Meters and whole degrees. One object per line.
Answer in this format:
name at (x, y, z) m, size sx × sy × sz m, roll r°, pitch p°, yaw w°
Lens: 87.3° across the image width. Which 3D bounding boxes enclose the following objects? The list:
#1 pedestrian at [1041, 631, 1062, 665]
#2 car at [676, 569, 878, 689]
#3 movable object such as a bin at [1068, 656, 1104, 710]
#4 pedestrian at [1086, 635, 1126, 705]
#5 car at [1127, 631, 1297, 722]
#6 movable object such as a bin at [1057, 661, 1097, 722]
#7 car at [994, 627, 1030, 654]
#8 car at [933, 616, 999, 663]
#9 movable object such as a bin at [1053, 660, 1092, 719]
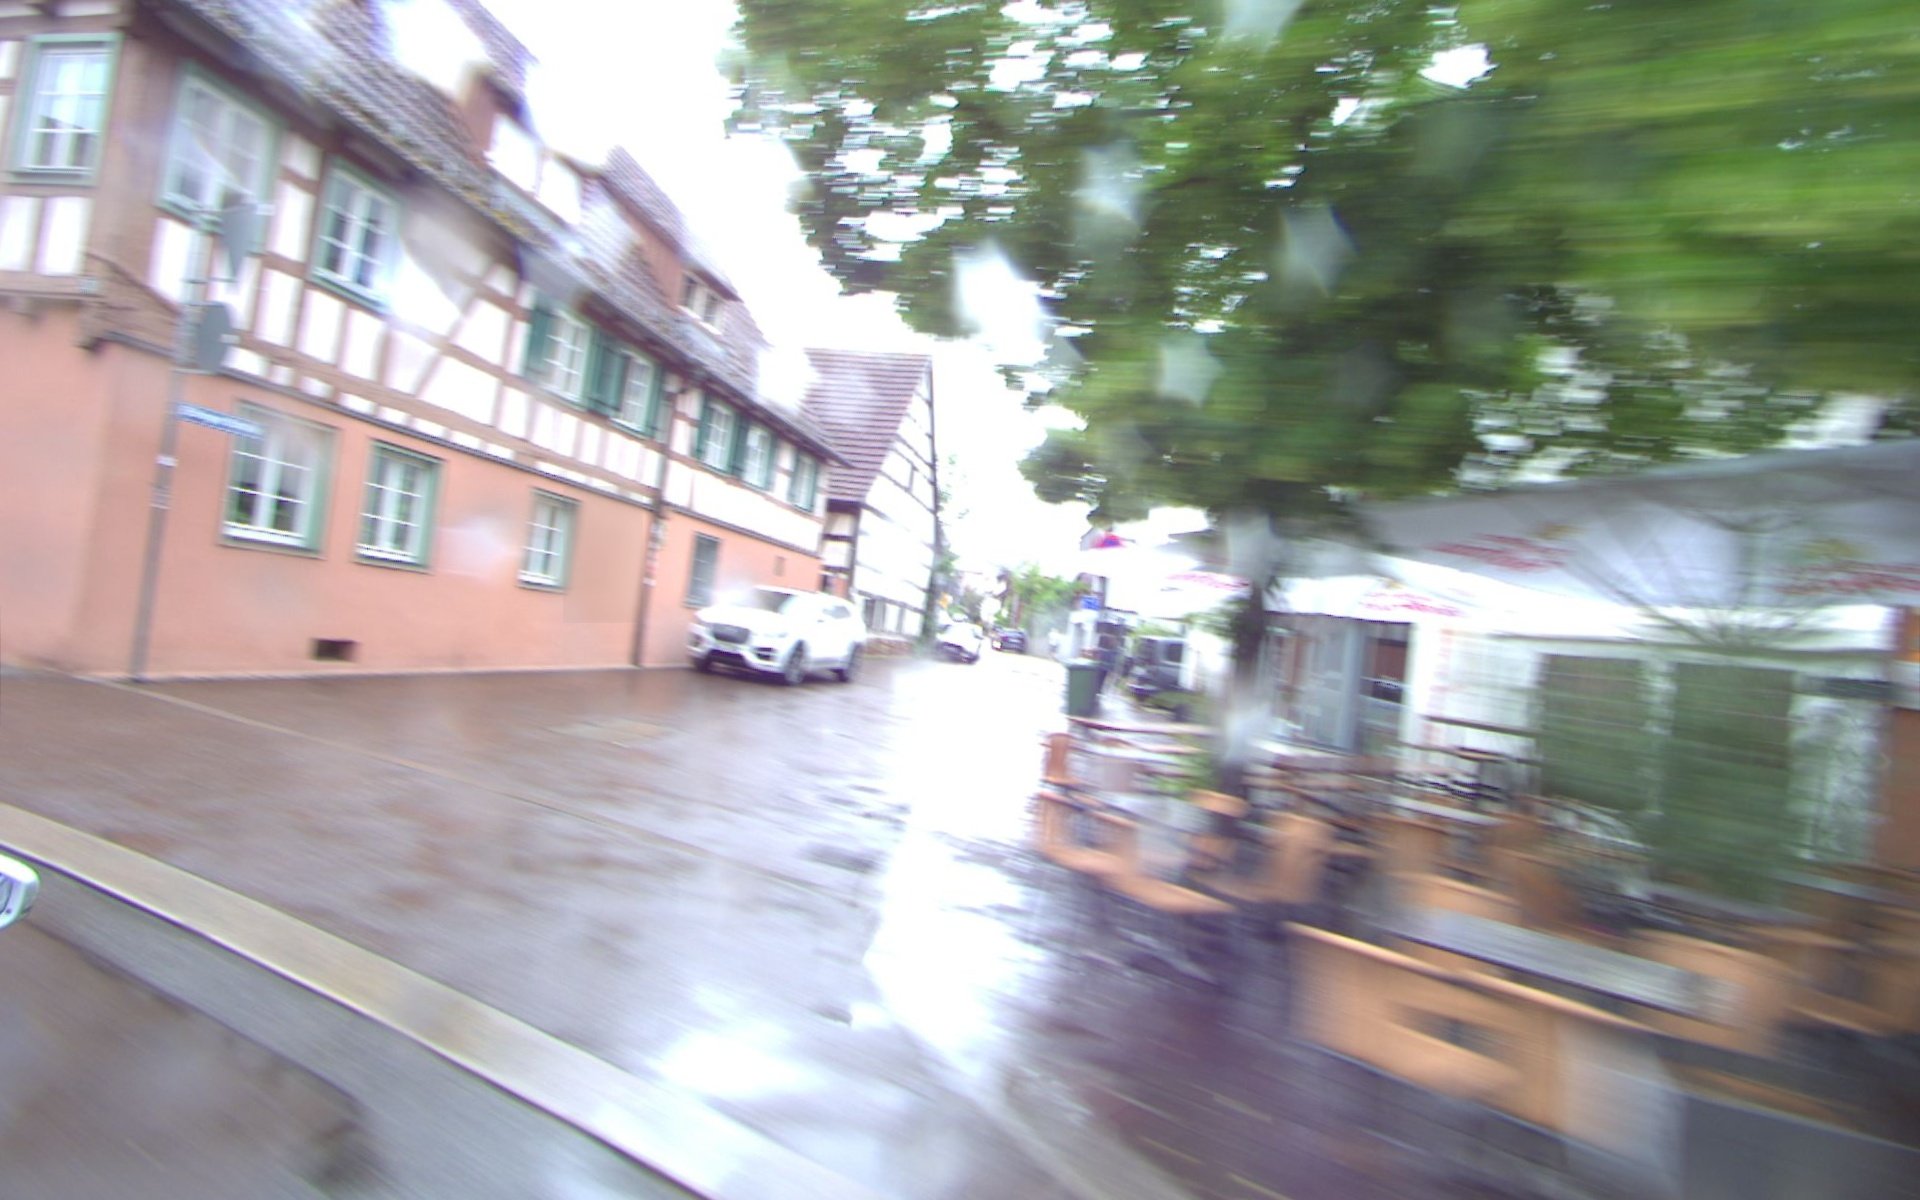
pedestrian at (4.908, 2.558, 54.252) m, size 0.821 × 1.724 × 0.902 m, roll 7°, pitch -1°, yaw -3°
car at (-3.210, 0.609, 18.759) m, size 1.908 × 1.650 × 4.472 m, roll 10°, pitch -1°, yaw 13°
movable object such as a bin at (2.784, 1.828, 22.239) m, size 0.595 × 1.106 × 0.657 m, roll 7°, pitch -1°, yaw 14°
pedestrian at (3.449, 1.650, 23.811) m, size 0.746 × 1.536 × 0.843 m, roll 7°, pitch -1°, yaw 7°
car at (6.313, 1.906, 25.386) m, size 3.666 × 1.792 × 1.625 m, roll 7°, pitch -1°, yaw -6°
movable object such as a bin at (2.311, 1.793, 19.836) m, size 0.595 × 1.106 × 0.657 m, roll 7°, pitch -1°, yaw 14°
car at (3.377, 2.652, 65.852) m, size 1.963 × 1.458 × 4.028 m, roll 7°, pitch -2°, yaw 0°
car at (0.302, 1.598, 40.155) m, size 1.962 × 1.547 × 4.005 m, roll 7°, pitch -2°, yaw 9°
movable object such as a bin at (2.313, 1.824, 20.557) m, size 0.595 × 1.106 × 0.657 m, roll 7°, pitch -1°, yaw 14°
